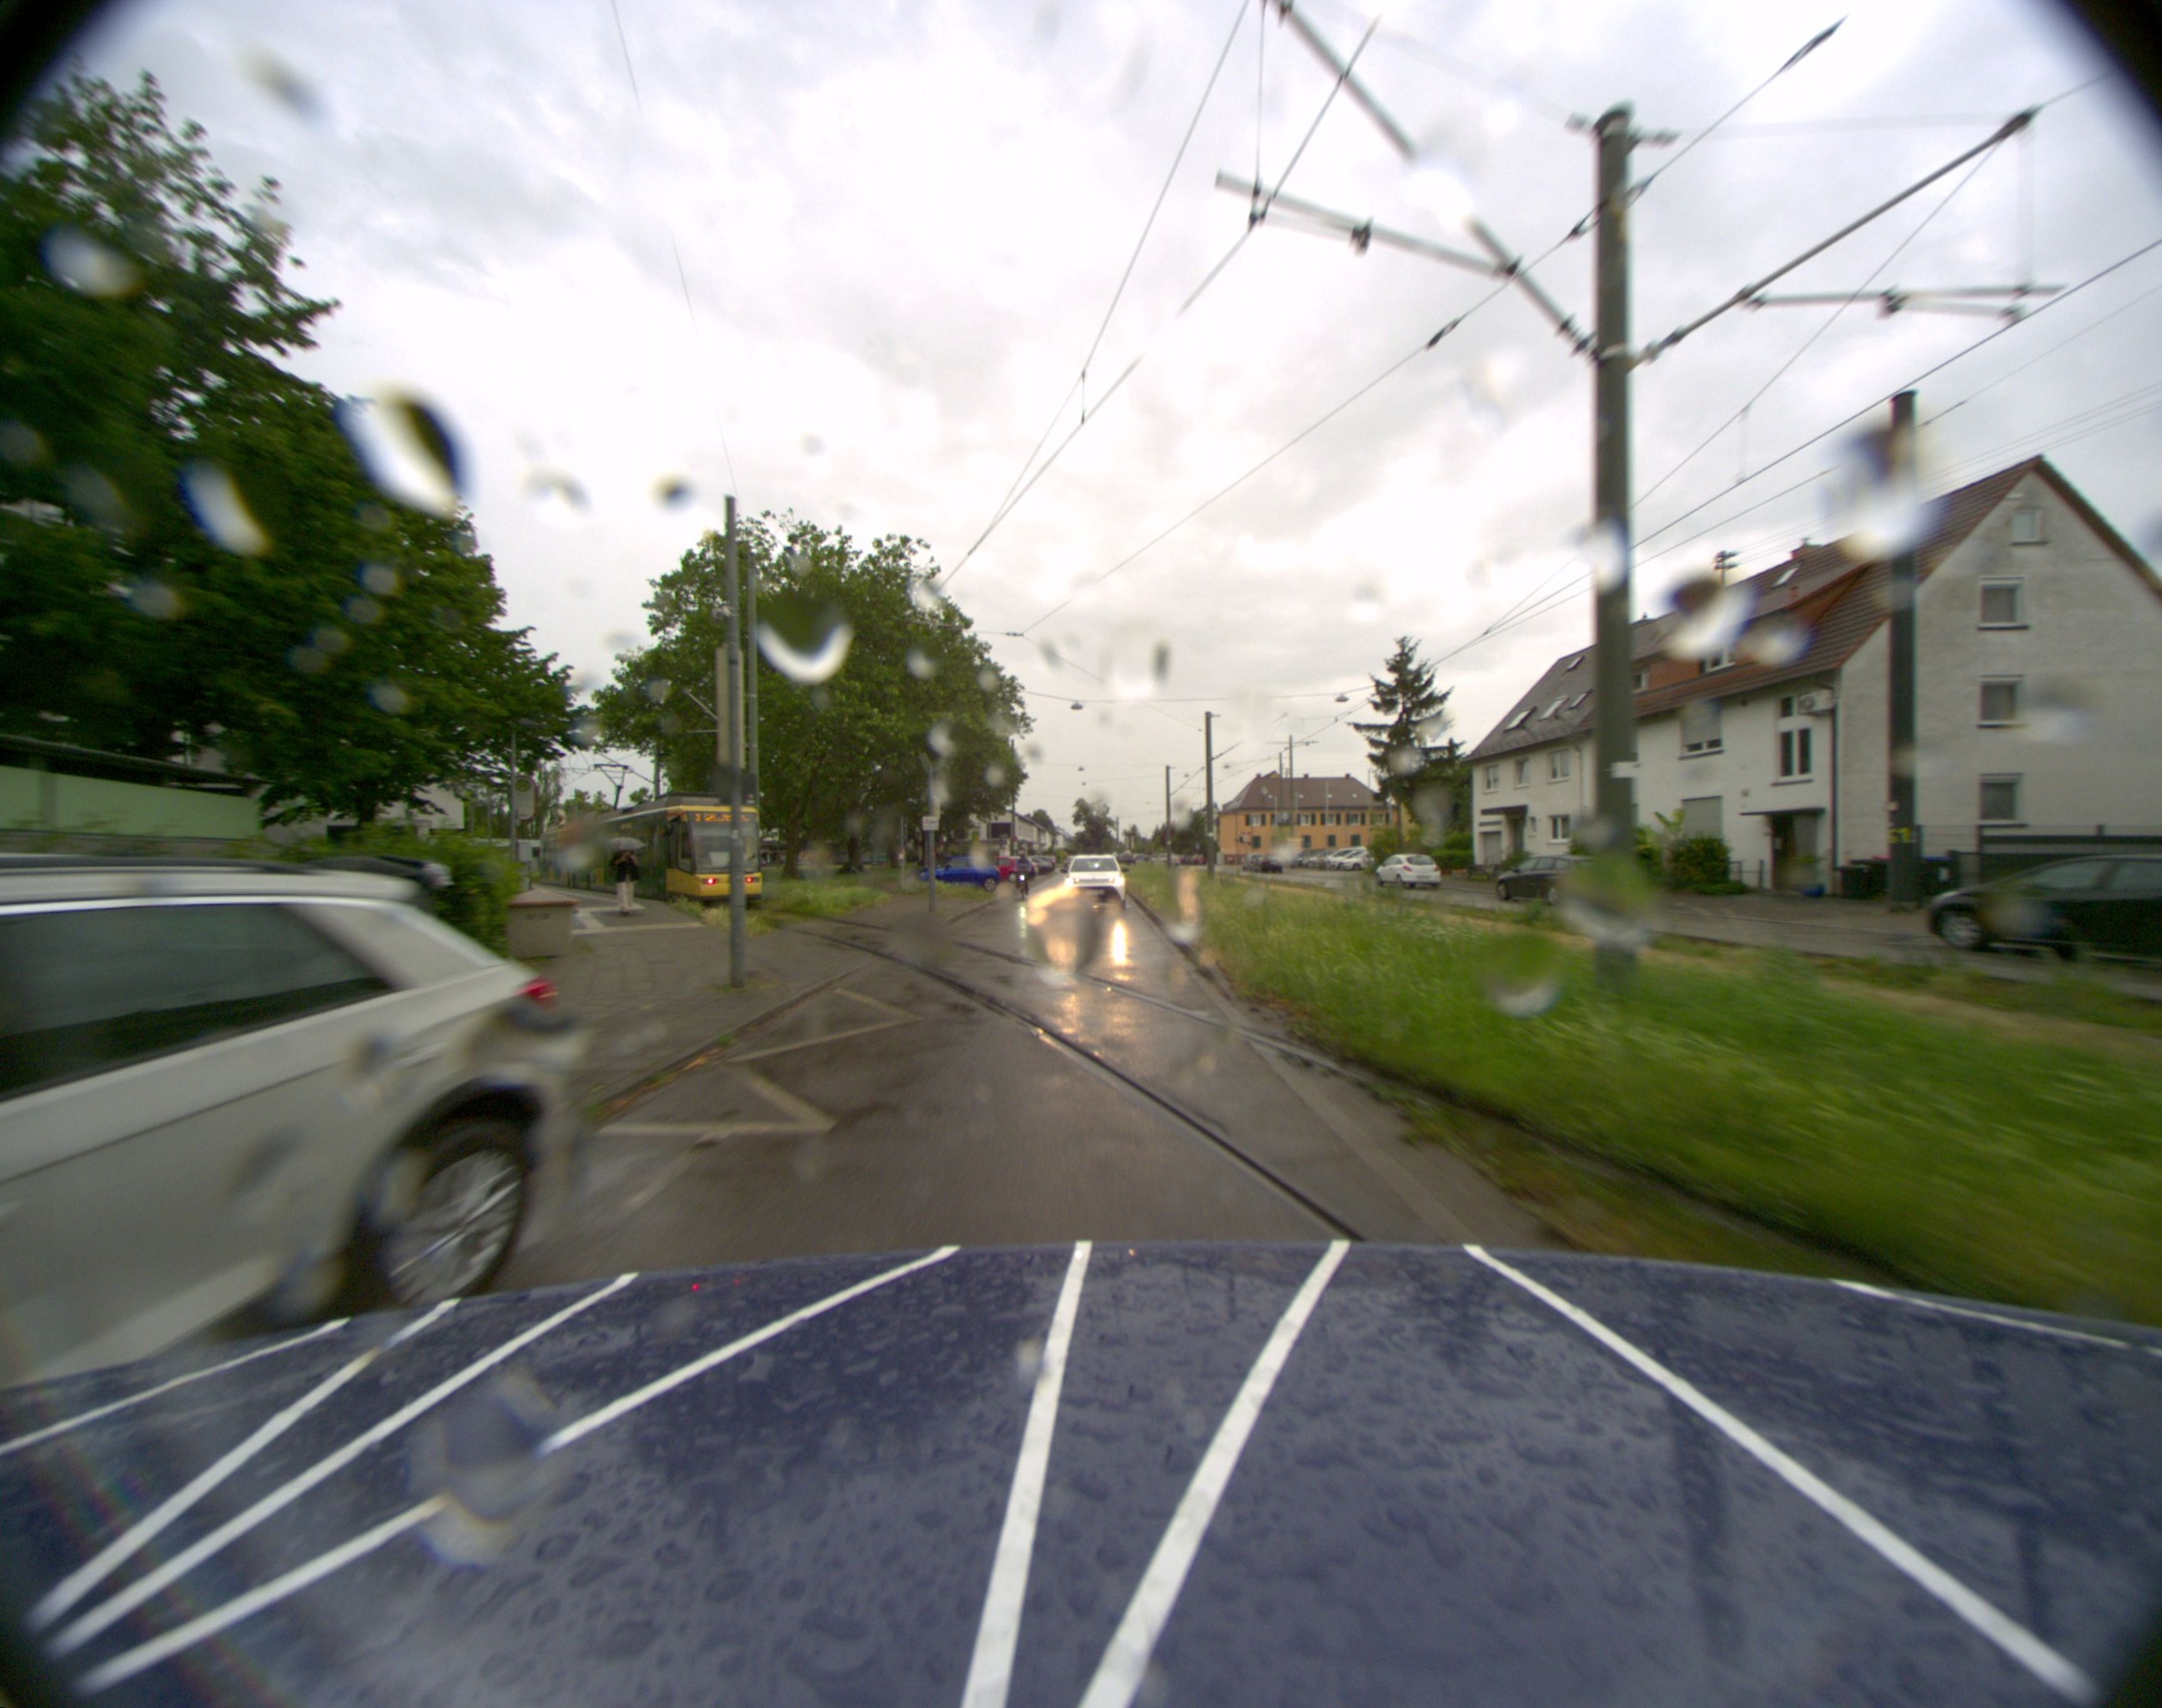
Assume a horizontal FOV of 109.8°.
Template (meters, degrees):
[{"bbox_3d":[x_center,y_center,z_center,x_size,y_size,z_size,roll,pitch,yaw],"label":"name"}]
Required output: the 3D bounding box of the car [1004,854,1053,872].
[{"bbox_3d":[-4.321,0.733,63.031,3.711,1.408,1.616,-1,1,-24],"label":"car"}]

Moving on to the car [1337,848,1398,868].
[{"bbox_3d":[22.202,0.287,58.991,3.996,1.455,1.914,-1,1,3],"label":"car"}]

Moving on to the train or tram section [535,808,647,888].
[{"bbox_3d":[-23.535,-0.273,36.152,2.763,3.320,10.322,-1,1,-42],"label":"train or tram section"}]

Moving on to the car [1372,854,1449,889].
[{"bbox_3d":[14.582,0.729,33.859,1.715,1.432,4.000,0,0,0],"label":"car"}]

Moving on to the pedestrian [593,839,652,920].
[{"bbox_3d":[-10.460,0.556,17.339,1.016,1.764,0.867,0,1,42],"label":"pedestrian"}]

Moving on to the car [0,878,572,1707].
[{"bbox_3d":[-2.986,0.903,0.947,1.904,1.566,4.111,0,1,0],"label":"car"}]

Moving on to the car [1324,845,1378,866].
[{"bbox_3d":[22.762,0.118,64.199,3.994,1.586,1.914,-2,1,9],"label":"car"}]

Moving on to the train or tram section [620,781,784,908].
[{"bbox_3d":[-11.649,-0.257,23.067,2.763,3.320,6.382,-1,1,-42],"label":"train or tram section"}]

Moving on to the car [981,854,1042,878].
[{"bbox_3d":[-4.615,0.791,50.544,3.711,1.475,1.616,-1,1,-24],"label":"car"}]

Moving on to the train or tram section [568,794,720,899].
[{"bbox_3d":[-16.795,-0.252,28.729,2.763,3.320,10.322,-1,1,-42],"label":"train or tram section"}]

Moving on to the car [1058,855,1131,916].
[{"bbox_3d":[0.371,0.812,21.395,1.853,1.500,4.120,0,1,0],"label":"car"}]

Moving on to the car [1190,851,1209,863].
[{"bbox_3d":[15.452,0.388,99.402,1.885,1.423,4.077,0,1,0],"label":"car"}]

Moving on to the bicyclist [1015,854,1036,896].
[{"bbox_3d":[-2.002,0.744,27.475,0.710,1.504,0.715,0,1,1],"label":"bicyclist"}]

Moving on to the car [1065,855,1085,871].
[{"bbox_3d":[-0.595,0.824,74.337,1.854,1.500,4.119,0,1,-2],"label":"car"}]

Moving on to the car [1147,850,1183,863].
[{"bbox_3d":[9.588,0.307,86.939,2.110,1.423,4.269,-1,1,-27],"label":"car"}]

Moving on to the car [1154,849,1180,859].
[{"bbox_3d":[14.374,0.029,127.154,3.998,1.638,1.893,0,1,-2],"label":"car"}]

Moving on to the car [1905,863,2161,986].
[{"bbox_3d":[13.962,0.874,10.103,1.777,1.418,3.937,0,0,2],"label":"car"}]

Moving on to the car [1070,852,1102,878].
[{"bbox_3d":[0.311,0.639,46.275,1.853,1.500,4.120,0,1,0],"label":"car"}]

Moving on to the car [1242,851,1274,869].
[{"bbox_3d":[15.390,0.522,66.245,1.881,1.520,4.000,0,1,1],"label":"car"}]

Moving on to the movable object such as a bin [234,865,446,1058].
[{"bbox_3d":[-6.420,0.835,6.718,1.155,1.432,1.472,-1,1,-38],"label":"movable object such as a bin"}]

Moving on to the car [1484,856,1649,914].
[{"bbox_3d":[14.231,0.834,22.683,1.891,1.523,4.756,0,0,0],"label":"car"}]

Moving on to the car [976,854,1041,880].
[{"bbox_3d":[-4.490,0.785,47.110,3.711,1.475,1.616,-1,1,-24],"label":"car"}]

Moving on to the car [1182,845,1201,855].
[{"bbox_3d":[15.747,-0.616,108.107,2.096,1.423,4.077,0,1,0],"label":"car"}]

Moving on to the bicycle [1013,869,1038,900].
[{"bbox_3d":[-2.007,1.095,27.544,0.710,1.031,2.099,0,1,1],"label":"bicycle"}]

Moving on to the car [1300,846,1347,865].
[{"bbox_3d":[22.426,0.117,70.144,3.991,1.586,1.916,-2,1,21],"label":"car"}]

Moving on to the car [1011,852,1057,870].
[{"bbox_3d":[-4.099,0.590,66.221,3.711,1.513,1.616,-1,1,-24],"label":"car"}]

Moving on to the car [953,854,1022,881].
[{"bbox_3d":[-5.362,0.760,43.486,3.582,1.451,1.616,-1,1,-25],"label":"car"}]

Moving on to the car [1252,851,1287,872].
[{"bbox_3d":[15.238,0.566,61.565,1.912,1.581,4.000,0,1,1],"label":"car"}]

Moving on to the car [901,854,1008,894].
[{"bbox_3d":[-5.241,0.774,31.662,4.006,1.518,1.715,-1,1,-31],"label":"car"}]

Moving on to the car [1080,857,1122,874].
[{"bbox_3d":[2.189,1.254,82.814,4.132,1.732,1.995,-1,1,-28],"label":"car"}]

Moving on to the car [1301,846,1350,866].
[{"bbox_3d":[21.710,0.172,67.671,3.992,1.586,1.915,-2,1,15],"label":"car"}]

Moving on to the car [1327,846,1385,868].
[{"bbox_3d":[22.187,0.252,61.391,3.996,1.586,1.914,-2,1,3],"label":"car"}]
